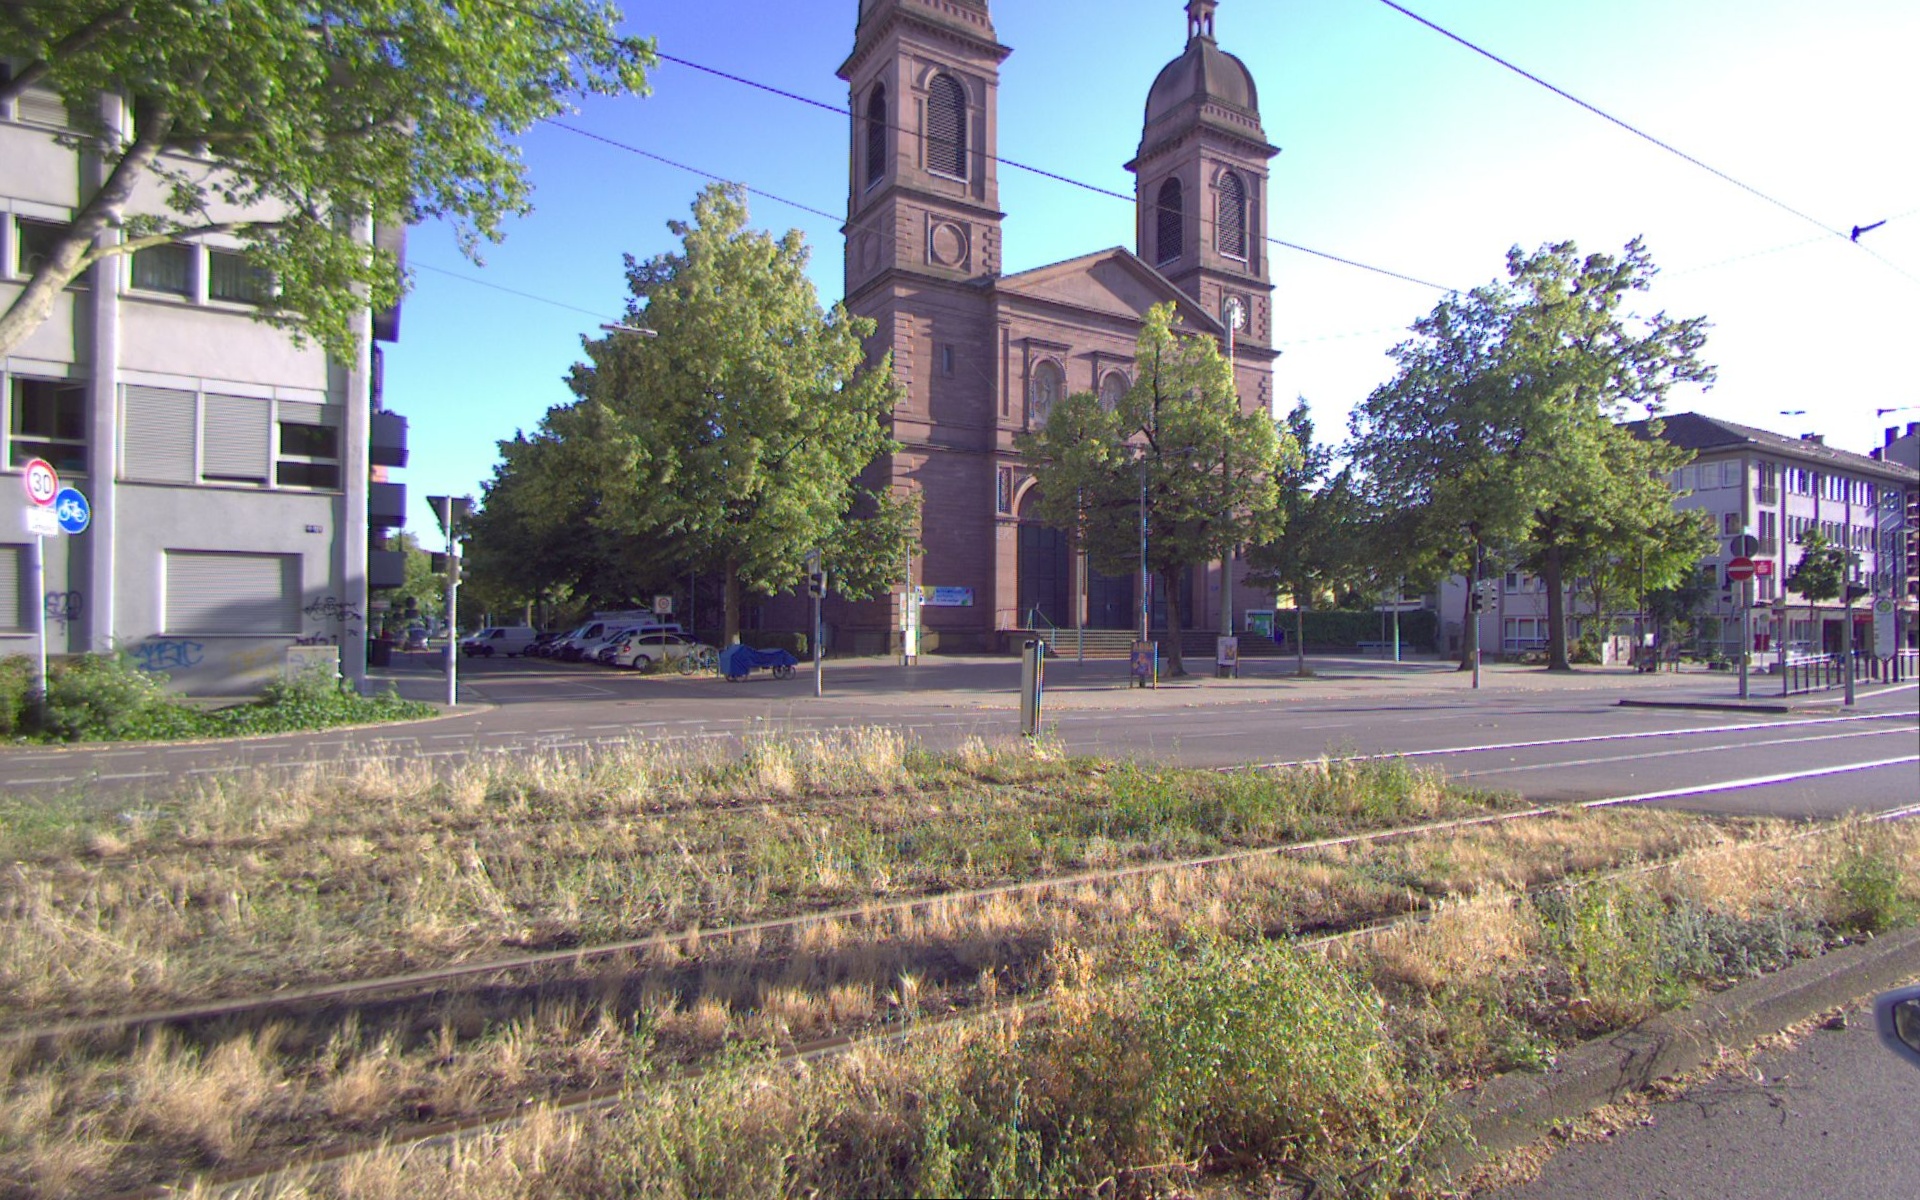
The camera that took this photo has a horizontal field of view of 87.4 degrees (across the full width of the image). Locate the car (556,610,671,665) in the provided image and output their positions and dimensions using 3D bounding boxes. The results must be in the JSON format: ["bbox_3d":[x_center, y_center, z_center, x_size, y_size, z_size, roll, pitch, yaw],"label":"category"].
[{"bbox_3d":[-18.301,1.965,53.114,5.382,2.710,1.980,2,0,-36],"label":"car"}]

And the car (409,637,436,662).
[{"bbox_3d":[-45.777,4.206,85.474,1.976,2.040,3.970,1,-2,-29],"label":"car"}]

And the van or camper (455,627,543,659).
[{"bbox_3d":[-30.021,2.780,65.591,1.963,2.040,5.130,0,-2,26],"label":"van or camper"}]

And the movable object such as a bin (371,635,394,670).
[{"bbox_3d":[-22.308,2.033,38.810,0.737,1.323,0.865,1,-2,-32],"label":"movable object such as a bin"}]

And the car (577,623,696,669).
[{"bbox_3d":[-15.528,2.180,48.320,5.121,2.040,1.981,2,0,-34],"label":"car"}]

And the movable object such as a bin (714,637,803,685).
[{"bbox_3d":[-6.159,1.834,30.717,2.416,1.228,1.102,-3,2,-30],"label":"movable object such as a bin"}]

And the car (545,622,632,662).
[{"bbox_3d":[-20.430,2.308,55.271,4.174,2.040,1.981,2,0,-34],"label":"car"}]

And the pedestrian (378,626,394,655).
[{"bbox_3d":[-36.033,2.540,63.076,0.634,1.774,0.685,-1,-2,43],"label":"pedestrian"}]

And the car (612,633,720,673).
[{"bbox_3d":[-12.232,2.181,41.826,3.953,1.479,1.984,2,0,-30],"label":"car"}]

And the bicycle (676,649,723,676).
[{"bbox_3d":[-9.067,2.165,34.967,1.517,0.904,0.465,2,0,-27],"label":"bicycle"}]
